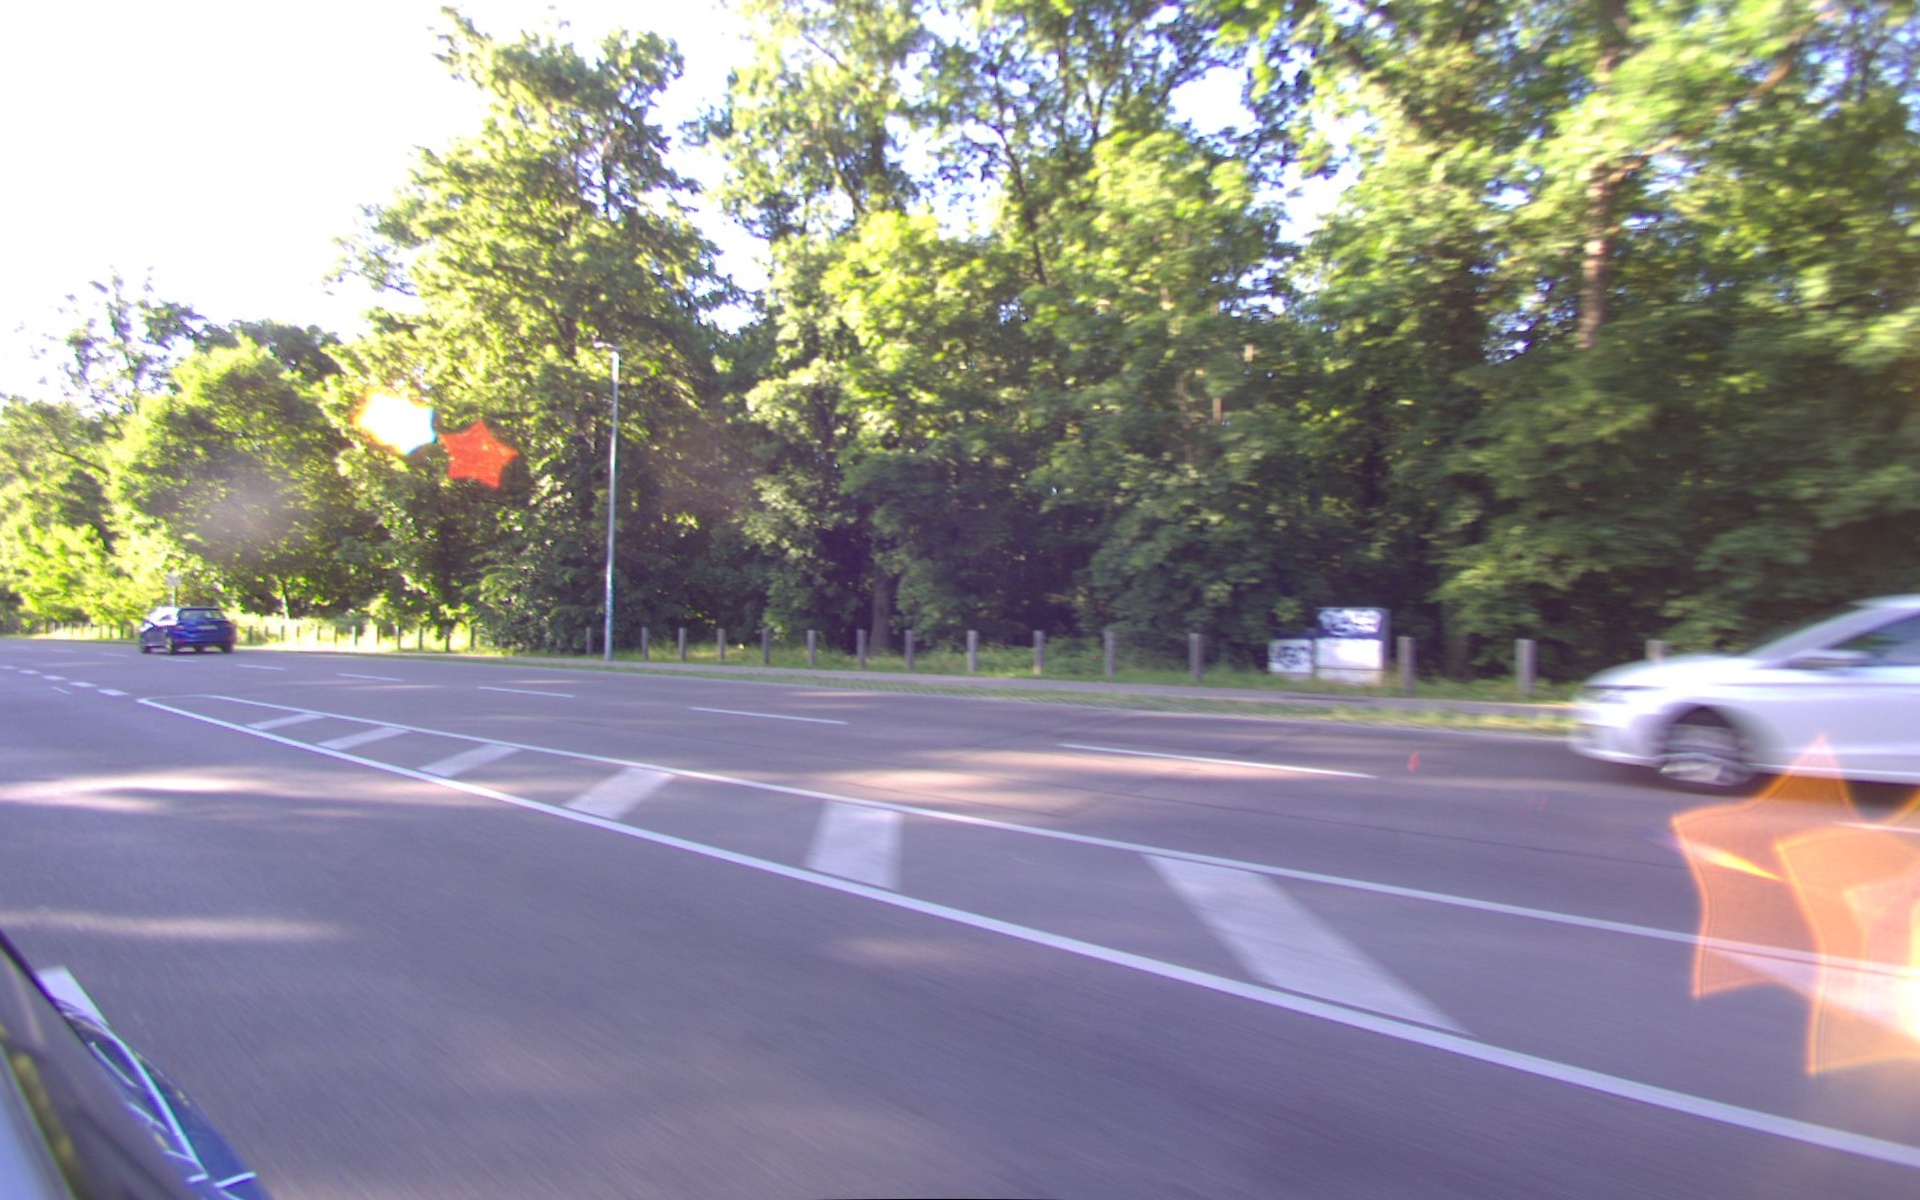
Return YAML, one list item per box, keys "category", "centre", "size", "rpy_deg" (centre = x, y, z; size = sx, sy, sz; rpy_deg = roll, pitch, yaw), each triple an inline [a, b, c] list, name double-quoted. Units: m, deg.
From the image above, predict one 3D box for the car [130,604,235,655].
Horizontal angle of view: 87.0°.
- category: "car"
  centre: [-24.584, 0.905, 31.963]
  size: [3.993, 1.519, 1.640]
  rpy_deg: [-1, -1, 37]

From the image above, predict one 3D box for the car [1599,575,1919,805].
- category: "car"
  centre: [6.909, 0.558, 6.977]
  size: [4.095, 1.475, 1.694]
  rpy_deg: [-1, 0, 38]
